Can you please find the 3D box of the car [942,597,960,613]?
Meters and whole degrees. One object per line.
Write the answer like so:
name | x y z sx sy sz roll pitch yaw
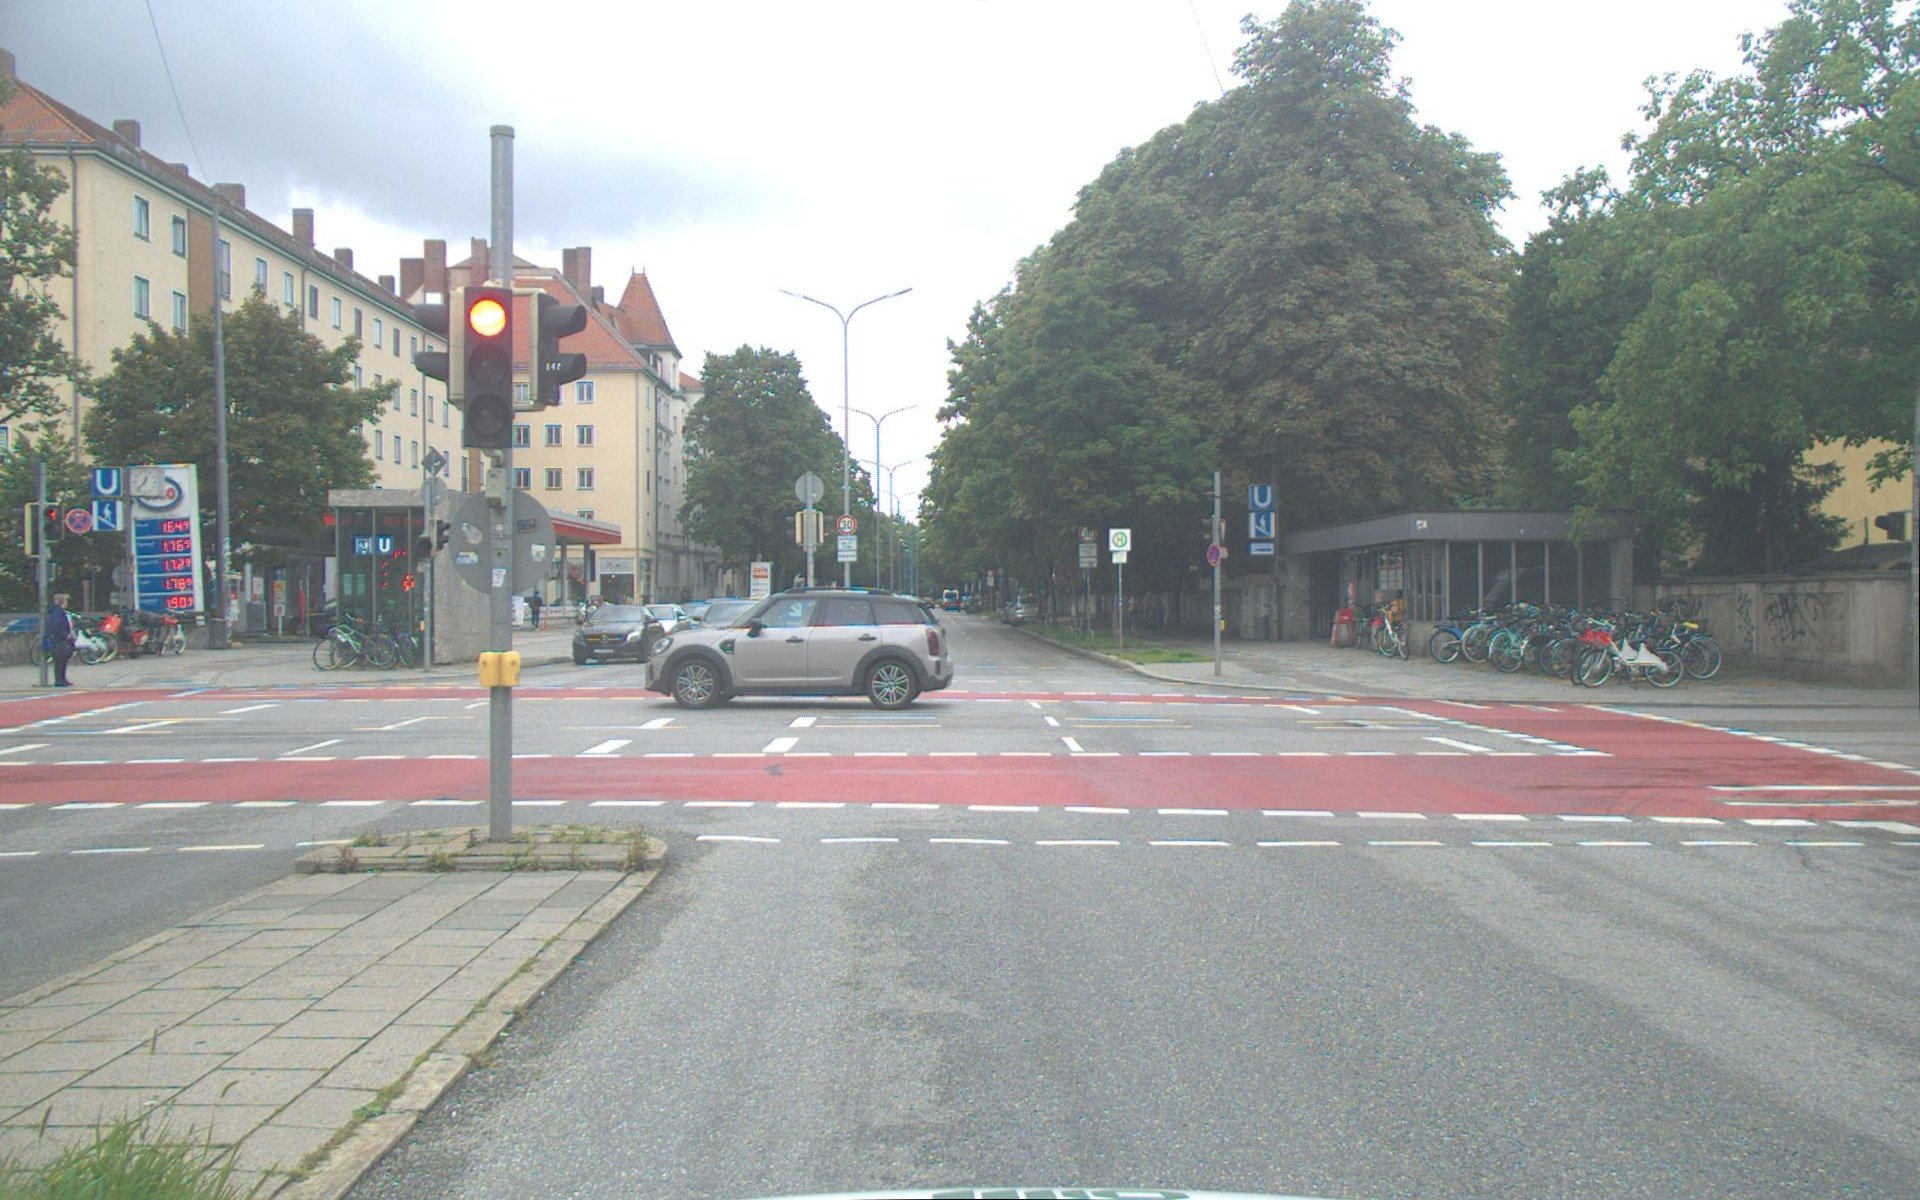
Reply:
car | -1.035 0.583 187.613 1.884 1.713 3.999 0 0 -1

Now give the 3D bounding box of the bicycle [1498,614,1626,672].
bicycle | 10.885 0.776 29.965 2.097 1.032 0.603 0 0 7

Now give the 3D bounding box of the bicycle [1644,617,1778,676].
bicycle | 13.472 0.825 29.709 2.097 1.032 0.634 0 0 7

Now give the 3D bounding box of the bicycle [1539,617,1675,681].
bicycle | 11.172 0.841 28.601 2.097 1.089 0.603 0 0 7

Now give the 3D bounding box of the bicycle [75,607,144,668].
bicycle | -18.499 0.792 36.019 0.596 1.257 2.183 0 0 -7

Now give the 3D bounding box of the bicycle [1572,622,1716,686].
bicycle | 11.221 0.879 27.172 2.097 1.032 0.603 0 0 7

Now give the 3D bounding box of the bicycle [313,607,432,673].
bicycle | -12.301 0.832 34.665 2.225 1.327 0.704 0 0 0

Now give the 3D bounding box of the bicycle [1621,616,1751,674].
bicycle | 13.378 0.824 30.501 2.097 1.032 0.634 0 0 7

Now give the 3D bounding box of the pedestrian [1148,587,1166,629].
pedestrian | 8.043 0.328 67.559 0.663 1.712 0.683 0 0 5

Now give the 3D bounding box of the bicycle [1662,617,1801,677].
bicycle | 13.481 0.819 28.941 2.097 1.032 0.634 0 0 7

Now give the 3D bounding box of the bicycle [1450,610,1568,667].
bicycle | 10.646 0.753 32.129 2.097 1.080 0.603 0 0 7

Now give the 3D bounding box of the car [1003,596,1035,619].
car | 3.521 0.442 99.792 1.708 1.387 3.805 0 0 -1

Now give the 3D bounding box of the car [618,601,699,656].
car | -8.749 0.794 48.282 1.724 1.486 3.999 0 0 -1

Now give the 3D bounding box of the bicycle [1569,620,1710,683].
bicycle | 11.405 0.866 27.800 2.097 1.032 0.634 0 0 7

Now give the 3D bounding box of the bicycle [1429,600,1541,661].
bicycle | 10.695 0.618 33.724 2.097 1.240 0.603 0 0 7

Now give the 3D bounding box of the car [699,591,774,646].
car | -6.442 0.498 48.042 1.724 1.519 3.999 0 0 -1

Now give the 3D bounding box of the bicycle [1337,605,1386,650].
bicycle | 9.441 0.634 38.954 0.545 1.032 2.014 0 0 -3

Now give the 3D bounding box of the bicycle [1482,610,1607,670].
bicycle | 10.832 0.740 30.693 2.097 1.105 0.603 0 0 7

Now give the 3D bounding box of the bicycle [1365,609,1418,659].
bicycle | 9.440 0.734 36.220 0.545 1.032 2.014 0 0 -3

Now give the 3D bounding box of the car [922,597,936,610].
car | -4.078 0.449 217.808 1.819 1.713 3.999 0 0 -1

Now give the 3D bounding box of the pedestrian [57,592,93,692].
pedestrian | -15.495 0.730 28.970 0.527 1.725 0.572 0 0 -27

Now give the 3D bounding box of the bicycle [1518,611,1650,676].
bicycle | 11.025 0.769 29.253 2.097 1.120 0.603 0 0 7

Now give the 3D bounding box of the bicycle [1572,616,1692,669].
bicycle | 13.338 0.837 32.866 2.097 1.032 0.634 0 0 7

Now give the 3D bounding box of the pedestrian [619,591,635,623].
pedestrian | -17.432 0.347 86.607 0.682 1.666 0.738 0 0 -1

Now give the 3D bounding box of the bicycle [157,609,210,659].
bicycle | -18.841 0.814 40.167 0.596 1.165 1.962 0 0 -7

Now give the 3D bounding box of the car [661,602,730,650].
car | -8.742 0.834 54.966 1.724 1.486 3.999 0 0 -1

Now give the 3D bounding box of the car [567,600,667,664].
car | -8.497 0.765 41.289 1.724 1.486 3.999 0 0 -1

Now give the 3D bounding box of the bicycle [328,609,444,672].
bicycle | -12.291 0.858 35.445 2.238 1.327 0.694 0 0 0

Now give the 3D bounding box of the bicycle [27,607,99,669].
bicycle | -19.057 0.795 35.189 0.596 1.257 2.183 0 0 -7

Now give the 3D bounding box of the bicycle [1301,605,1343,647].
bicycle | 9.238 0.652 42.273 0.545 1.032 2.014 0 0 -3

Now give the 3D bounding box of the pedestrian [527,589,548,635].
pedestrian | -19.121 0.551 74.887 0.715 2.049 0.834 1 -1 -1

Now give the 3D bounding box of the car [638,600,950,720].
car | -2.194 0.784 22.586 4.084 1.540 1.695 0 0 -2

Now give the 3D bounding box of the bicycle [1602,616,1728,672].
bicycle | 13.310 0.826 31.284 2.097 1.032 0.634 0 0 7

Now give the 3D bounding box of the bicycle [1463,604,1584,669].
bicycle | 10.689 0.691 31.428 2.097 1.199 0.603 0 0 7

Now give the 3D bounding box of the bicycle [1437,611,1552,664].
bicycle | 10.658 0.739 33.010 2.097 1.032 0.603 0 0 7

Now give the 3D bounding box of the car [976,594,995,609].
car | 2.417 0.161 159.712 1.708 1.452 3.898 0 0 -1

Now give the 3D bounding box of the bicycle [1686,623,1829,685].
bicycle | 13.547 0.919 28.145 2.097 1.032 0.634 0 0 7

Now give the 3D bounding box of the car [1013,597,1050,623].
car | 3.859 0.537 89.785 1.708 1.387 3.805 0 0 -1

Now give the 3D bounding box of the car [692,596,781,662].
car | -5.441 0.679 40.662 1.724 1.519 3.999 0 0 -1

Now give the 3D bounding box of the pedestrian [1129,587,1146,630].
pedestrian | 7.230 0.342 67.407 0.663 1.712 0.683 0 0 5

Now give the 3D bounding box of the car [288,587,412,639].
car | -22.616 0.475 61.436 3.908 1.870 1.879 0 0 -4
